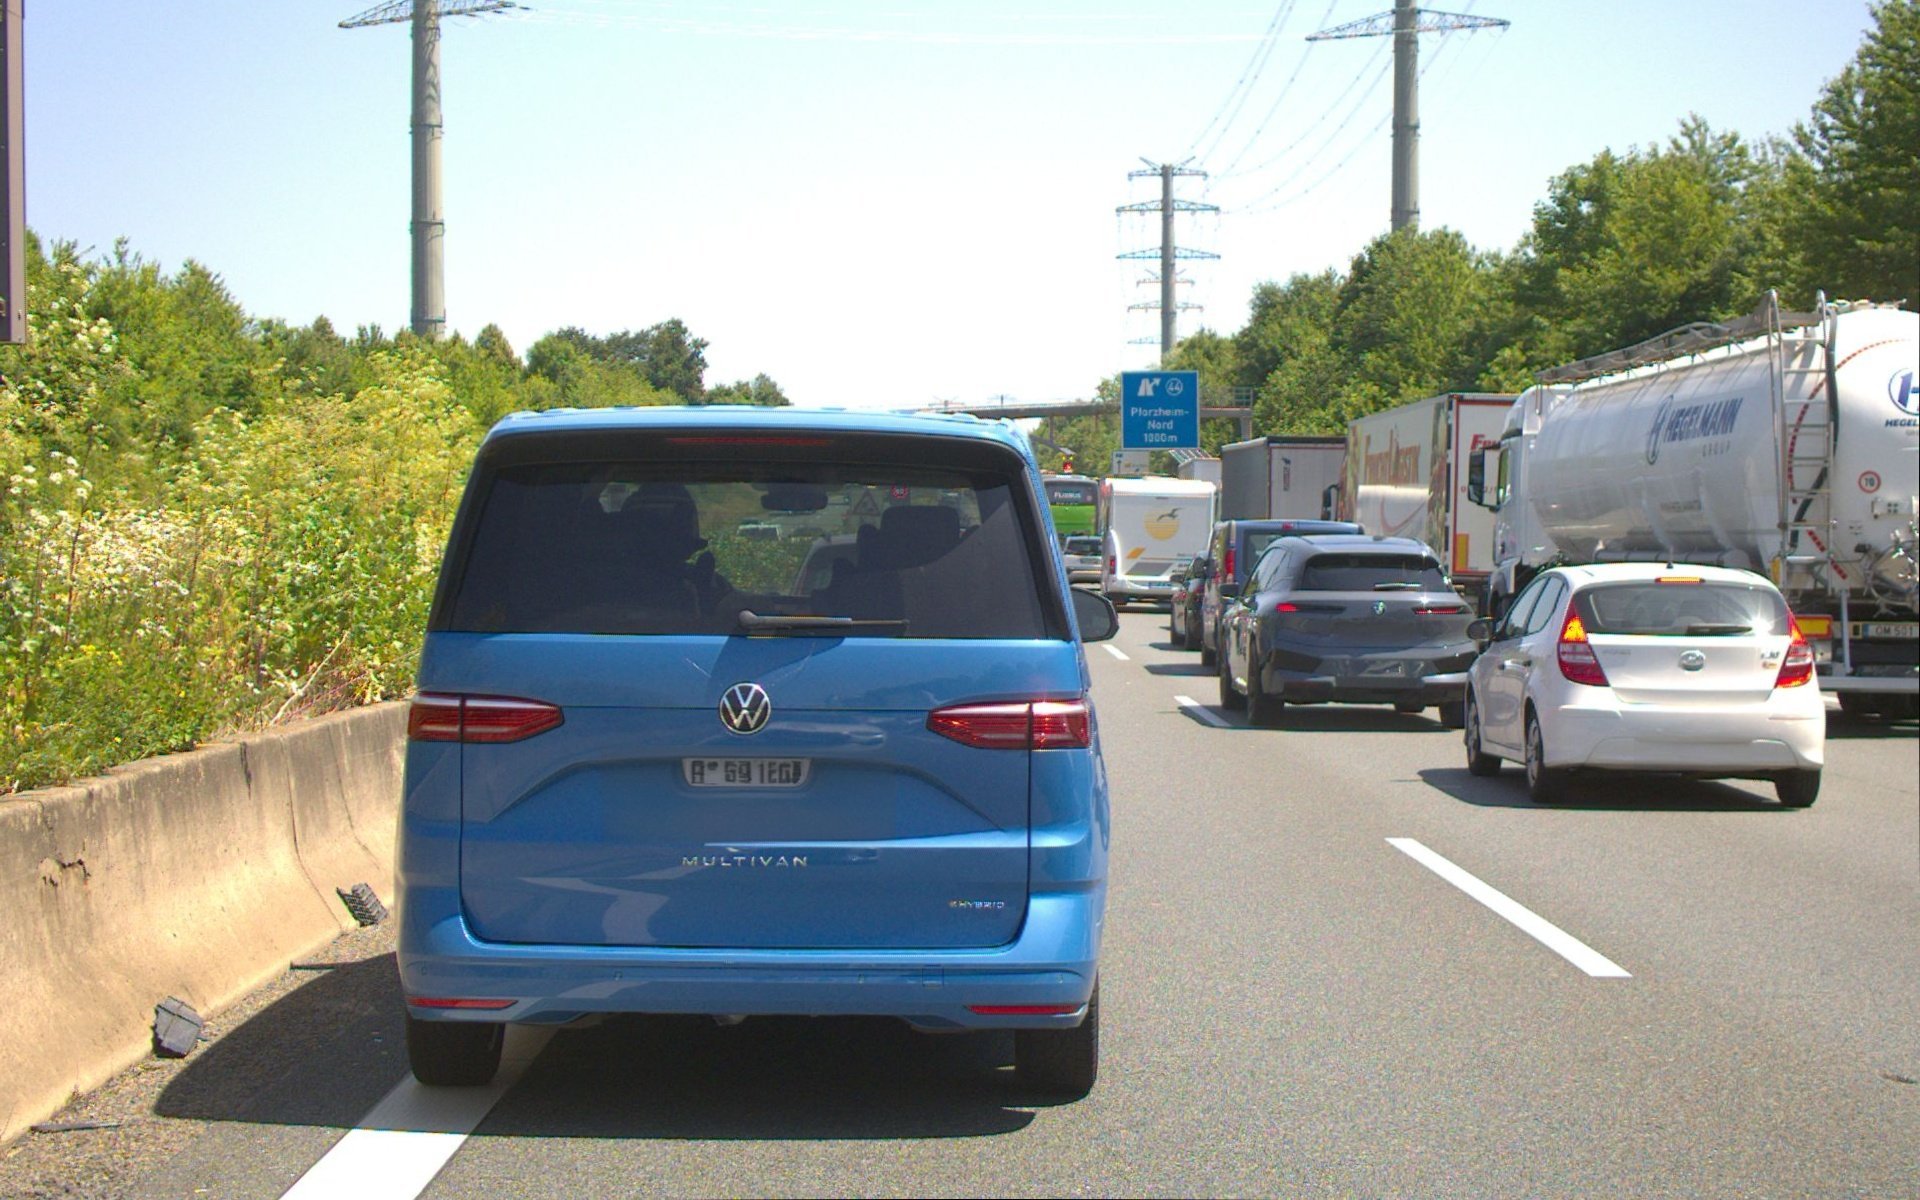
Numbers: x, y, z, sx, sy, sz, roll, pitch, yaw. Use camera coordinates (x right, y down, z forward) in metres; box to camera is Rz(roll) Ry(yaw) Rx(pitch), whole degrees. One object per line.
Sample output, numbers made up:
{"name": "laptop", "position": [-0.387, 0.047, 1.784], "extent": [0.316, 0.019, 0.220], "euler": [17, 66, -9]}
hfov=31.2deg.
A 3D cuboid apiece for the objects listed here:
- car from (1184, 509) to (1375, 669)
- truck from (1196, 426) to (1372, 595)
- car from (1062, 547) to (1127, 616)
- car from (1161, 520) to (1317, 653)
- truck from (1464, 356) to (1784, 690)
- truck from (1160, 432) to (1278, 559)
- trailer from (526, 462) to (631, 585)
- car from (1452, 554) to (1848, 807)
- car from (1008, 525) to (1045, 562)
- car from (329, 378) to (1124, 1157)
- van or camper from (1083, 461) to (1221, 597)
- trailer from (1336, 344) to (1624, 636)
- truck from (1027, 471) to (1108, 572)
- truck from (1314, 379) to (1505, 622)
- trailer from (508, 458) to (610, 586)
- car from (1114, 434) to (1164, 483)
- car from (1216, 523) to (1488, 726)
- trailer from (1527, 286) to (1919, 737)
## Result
{"name": "car", "position": [4.031, -0.134, 44.036], "extent": [1.923, 1.919, 4.236], "euler": [-1, 0, -1]}
{"name": "truck", "position": [7.767, -2.063, 84.502], "extent": [3.006, 3.753, 15.713], "euler": [0, 0, 1]}
{"name": "car", "position": [4.018, -0.542, 103.073], "extent": [1.836, 1.992, 4.000], "euler": [-1, 0, 1]}
{"name": "car", "position": [4.248, -0.203, 52.930], "extent": [1.923, 1.919, 4.236], "euler": [-1, 0, -1]}
{"name": "truck", "position": [8.037, -0.925, 42.292], "extent": [2.793, 3.823, 5.572], "euler": [0, 1, -1]}
{"name": "truck", "position": [8.152, -3.209, 109.808], "extent": [2.895, 3.753, 13.345], "euler": [0, 0, 1]}
{"name": "trailer", "position": [-16.034, -3.161, 145.215], "extent": [3.322, 5.030, 9.591], "euler": [0, 0, 0]}
{"name": "car", "position": [4.344, 0.472, 22.223], "extent": [1.817, 1.480, 4.000], "euler": [0, 0, 1]}
{"name": "car", "position": [3.815, -3.249, 197.771], "extent": [1.993, 2.118, 4.000], "euler": [0, 0, -1]}
{"name": "car", "position": [-0.580, 0.378, 10.473], "extent": [1.920, 1.880, 4.000], "euler": [1, 1, 0]}
{"name": "van or camper", "position": [4.385, -1.601, 79.730], "extent": [2.957, 3.011, 7.102], "euler": [0, 0, 1]}
{"name": "trailer", "position": [8.621, -1.759, 58.678], "extent": [2.912, 4.453, 12.155], "euler": [0, 1, -1]}
{"name": "truck", "position": [4.096, -2.947, 132.937], "extent": [2.895, 3.753, 10.140], "euler": [0, 0, 1]}
{"name": "truck", "position": [8.551, -1.863, 65.876], "extent": [2.912, 4.453, 5.143], "euler": [0, 1, -1]}
{"name": "trailer", "position": [-16.021, -3.080, 137.937], "extent": [3.322, 5.030, 6.704], "euler": [0, 0, 0]}
{"name": "car", "position": [7.910, -6.234, 152.054], "extent": [1.993, 2.007, 4.000], "euler": [0, 0, 0]}
{"name": "car", "position": [3.506, 0.205, 31.542], "extent": [1.999, 1.709, 4.625], "euler": [0, 0, 1]}
{"name": "trailer", "position": [8.179, -0.832, 35.062], "extent": [2.761, 3.831, 11.487], "euler": [0, 1, -1]}
